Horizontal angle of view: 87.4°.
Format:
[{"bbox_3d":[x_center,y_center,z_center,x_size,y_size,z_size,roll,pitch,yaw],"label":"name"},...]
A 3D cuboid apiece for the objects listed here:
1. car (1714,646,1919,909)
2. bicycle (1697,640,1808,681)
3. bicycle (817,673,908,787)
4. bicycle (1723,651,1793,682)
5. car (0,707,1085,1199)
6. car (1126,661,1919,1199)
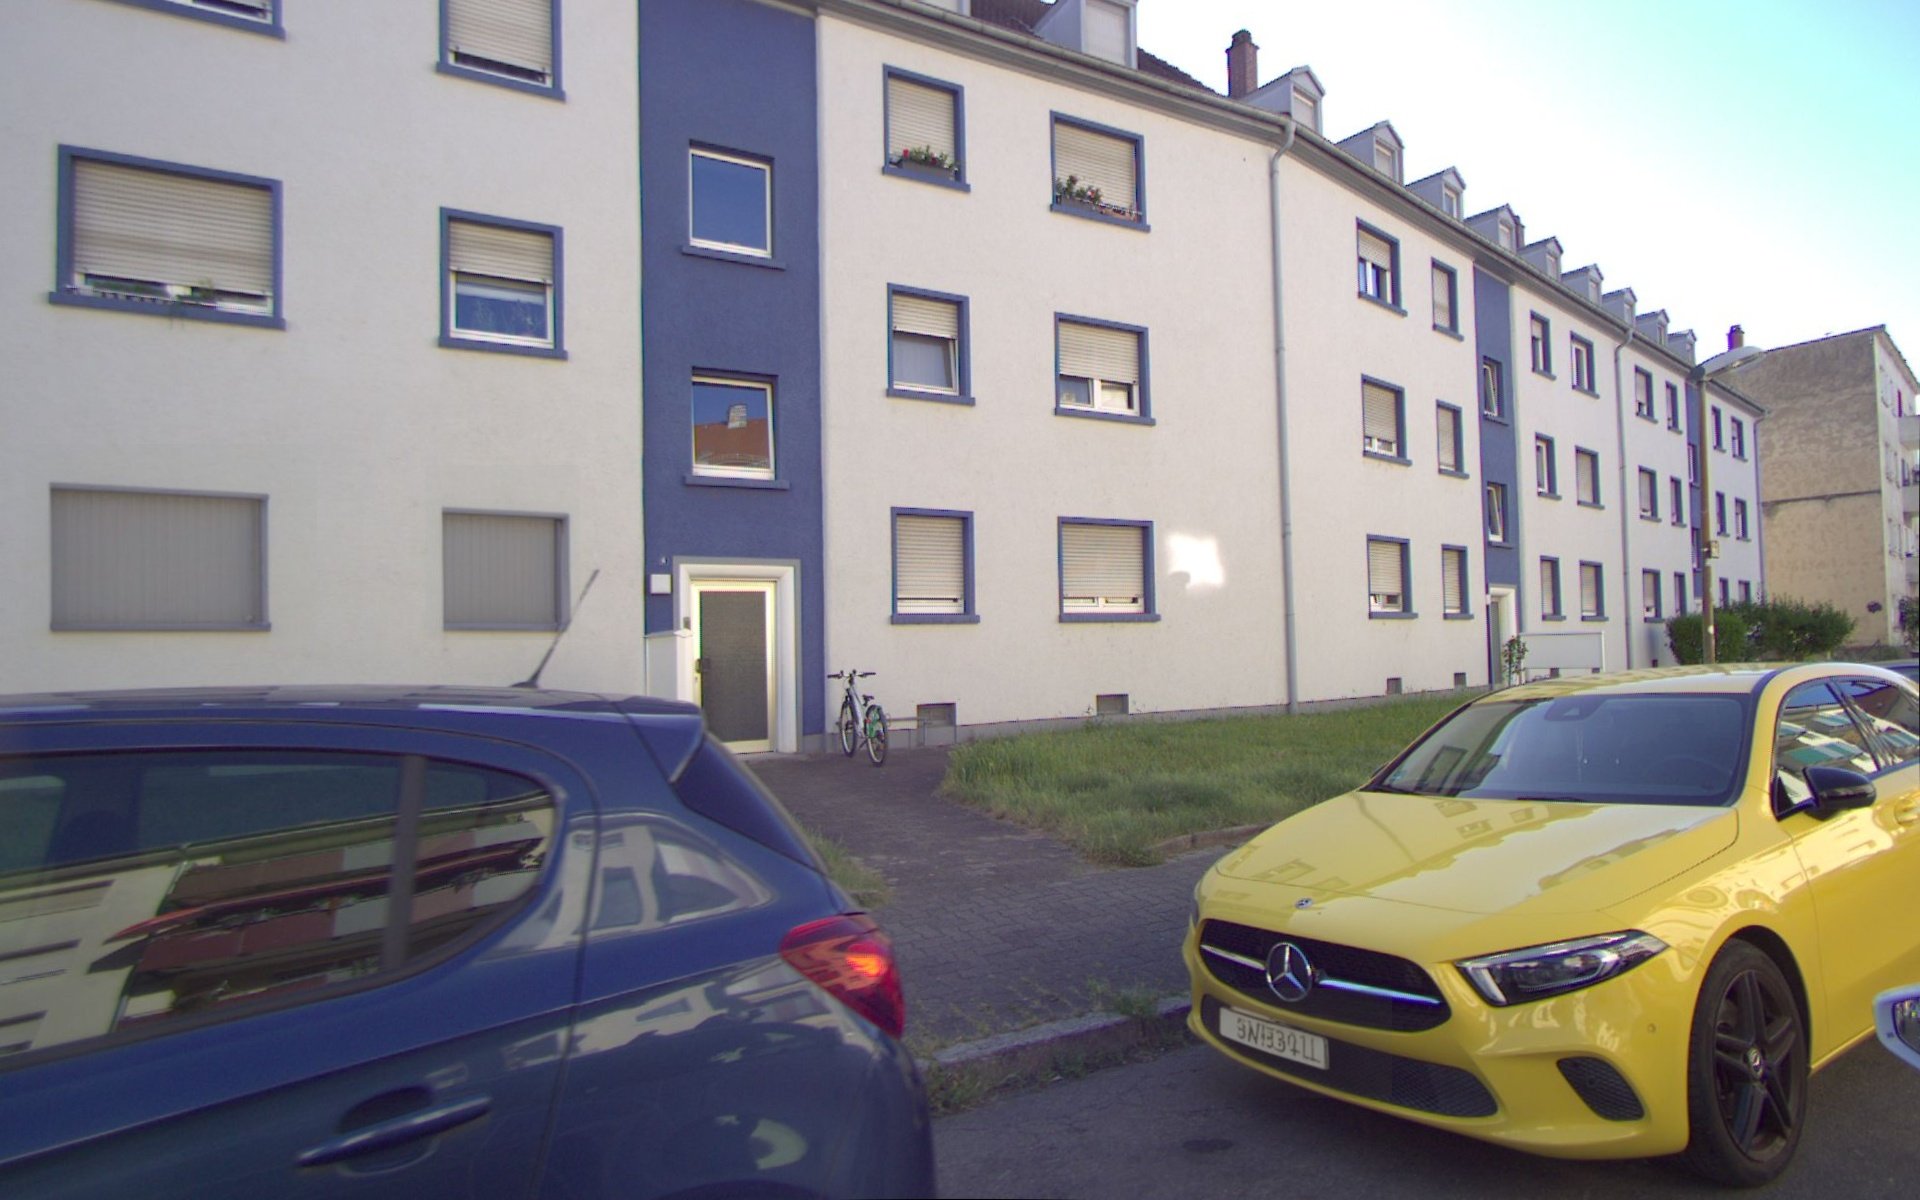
[{"bbox_3d":[7.169,1.074,7.159,4.219,1.483,1.560,1,-5,-35],"label":"car"},{"bbox_3d":[24.203,1.819,30.720,2.640,1.145,0.769,-1,-1,43],"label":"bicycle"},{"bbox_3d":[-1.159,1.441,11.567,0.560,1.092,1.817,0,-1,-22],"label":"bicycle"},{"bbox_3d":[25.969,2.180,32.712,0.543,0.948,1.635,2,-6,-38],"label":"bicycle"},{"bbox_3d":[-1.899,1.004,1.465,3.974,1.463,1.686,0,-5,-32],"label":"car"},{"bbox_3d":[2.823,1.023,4.083,4.109,1.407,1.686,0,-4,-32],"label":"car"}]
